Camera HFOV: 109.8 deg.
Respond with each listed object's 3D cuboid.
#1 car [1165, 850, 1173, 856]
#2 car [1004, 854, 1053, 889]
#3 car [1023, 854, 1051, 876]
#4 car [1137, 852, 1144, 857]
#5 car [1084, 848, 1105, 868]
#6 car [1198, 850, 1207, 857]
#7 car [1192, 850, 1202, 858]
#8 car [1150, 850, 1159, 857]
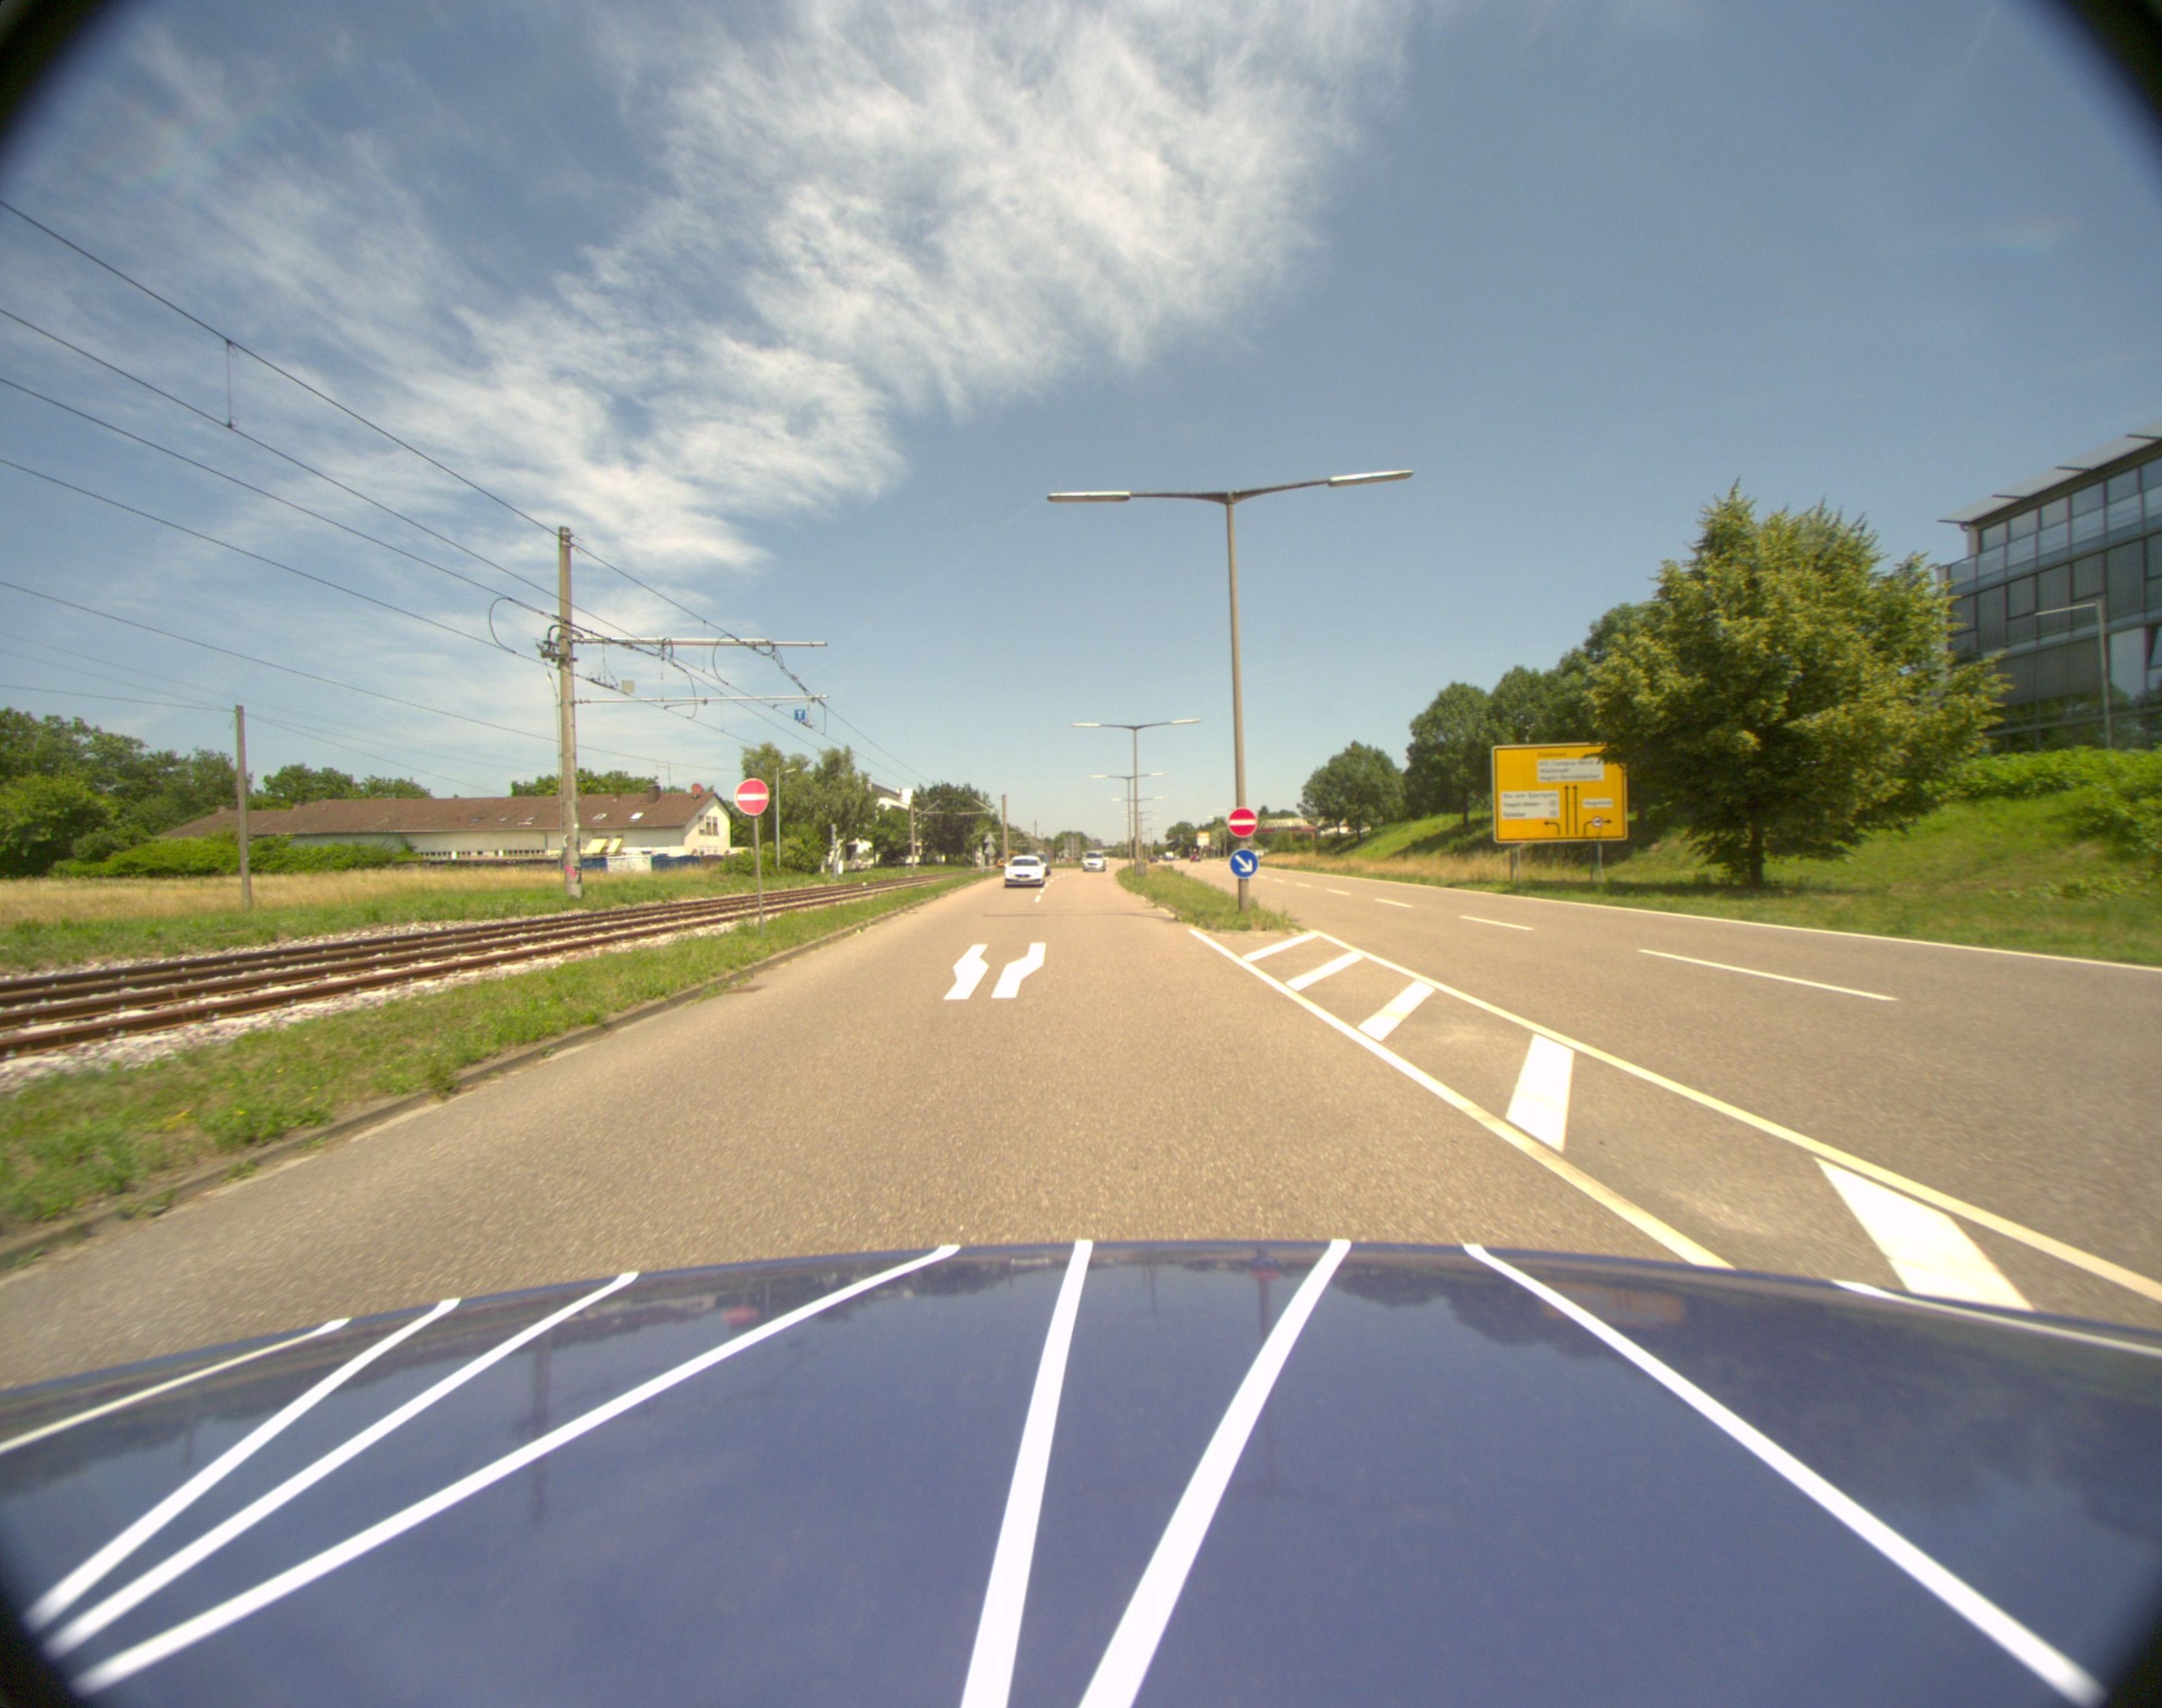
[{"bbox_3d":[21.350,-0.183,184.584,1.618,1.386,3.600,-2,1,0],"label":"car"},{"bbox_3d":[-2.447,0.778,36.235,1.771,1.434,4.129,-2,1,4],"label":"car"},{"bbox_3d":[-2.995,0.744,51.913,1.646,1.303,3.786,-2,1,0],"label":"car"},{"bbox_3d":[17.208,0.221,218.991,1.618,1.386,3.600,-2,1,0],"label":"car"},{"bbox_3d":[1.275,0.373,69.829,1.883,1.687,3.788,-2,1,2],"label":"car"},{"bbox_3d":[27.694,-0.155,173.304,1.652,1.577,3.819,-2,1,2],"label":"car"},{"bbox_3d":[21.345,0.054,139.962,1.621,1.346,3.516,-1,1,7],"label":"car"},{"bbox_3d":[15.778,-0.017,163.302,1.618,1.386,3.600,-2,1,0],"label":"car"}]
